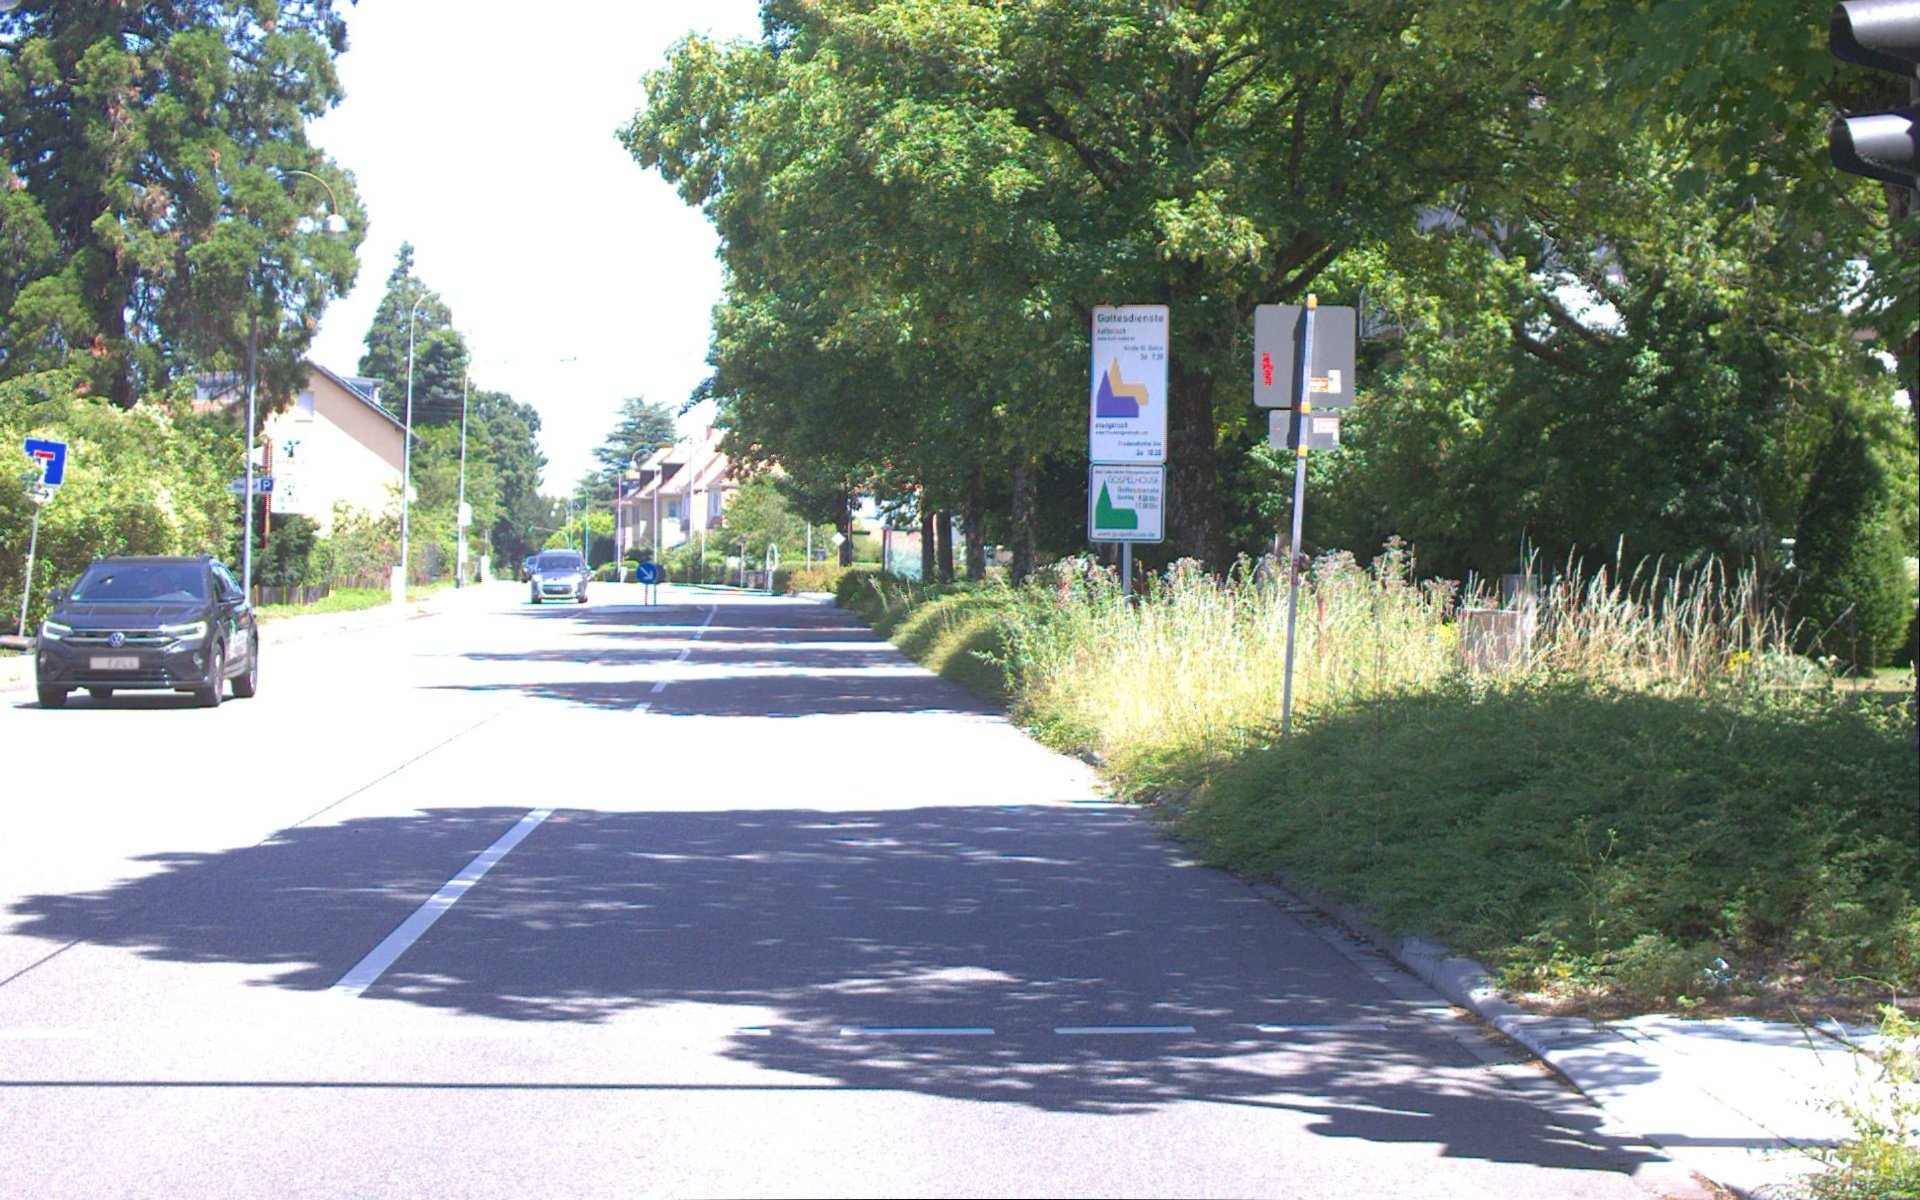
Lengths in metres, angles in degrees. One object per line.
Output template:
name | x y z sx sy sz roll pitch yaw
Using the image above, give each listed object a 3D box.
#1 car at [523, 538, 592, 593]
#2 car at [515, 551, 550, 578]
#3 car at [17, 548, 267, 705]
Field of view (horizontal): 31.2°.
car | -13.329 -1.152 114.041 1.811 1.756 4.570 1 1 -1
car | -24.813 -2.046 199.668 1.822 1.546 4.001 0 1 -4
car | -8.229 0.224 34.893 1.869 1.501 4.053 0 1 -5
